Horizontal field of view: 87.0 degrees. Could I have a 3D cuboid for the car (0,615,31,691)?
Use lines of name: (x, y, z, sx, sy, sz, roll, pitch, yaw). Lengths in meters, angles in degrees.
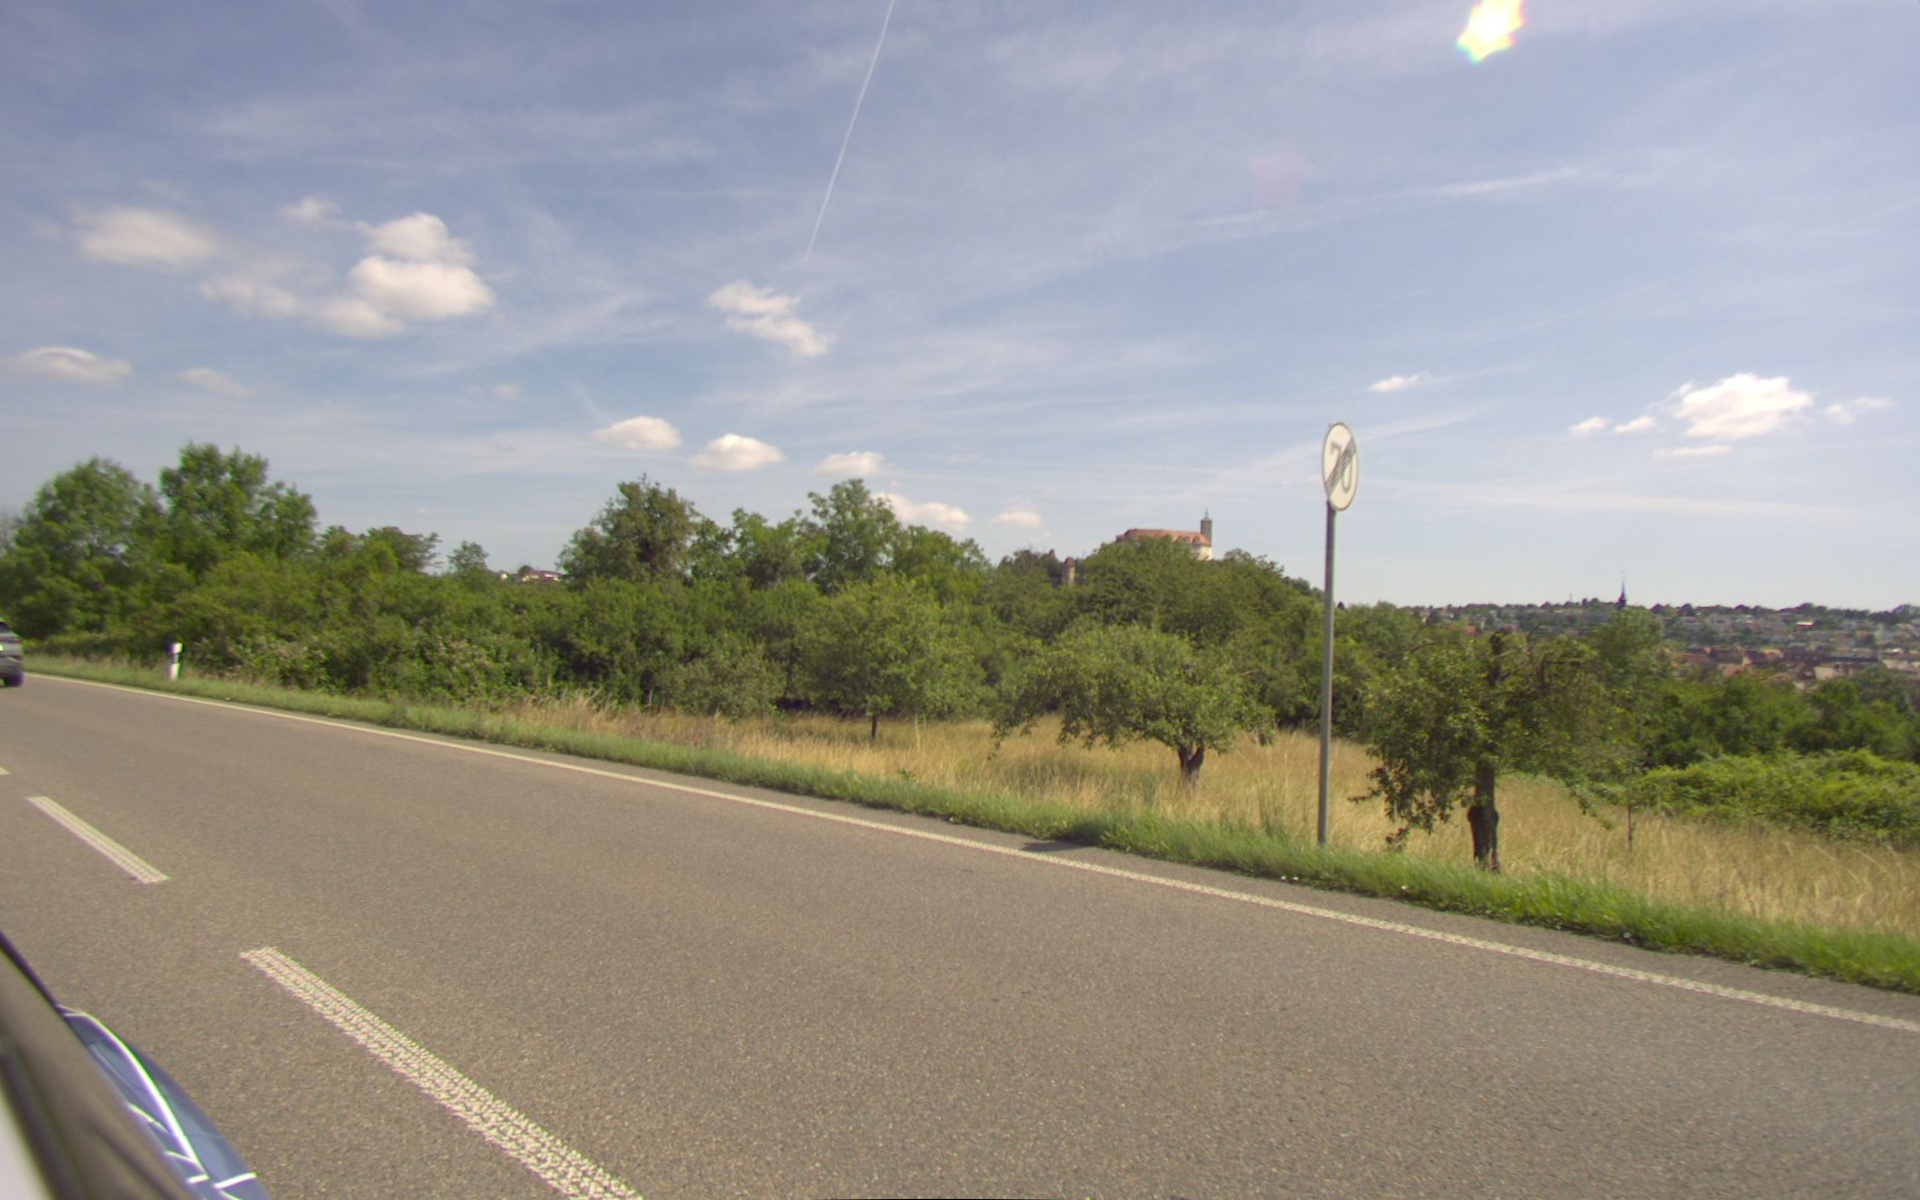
car: (-22.444, 1.159, 22.554, 3.994, 1.638, 1.906, -1, -2, 38)
